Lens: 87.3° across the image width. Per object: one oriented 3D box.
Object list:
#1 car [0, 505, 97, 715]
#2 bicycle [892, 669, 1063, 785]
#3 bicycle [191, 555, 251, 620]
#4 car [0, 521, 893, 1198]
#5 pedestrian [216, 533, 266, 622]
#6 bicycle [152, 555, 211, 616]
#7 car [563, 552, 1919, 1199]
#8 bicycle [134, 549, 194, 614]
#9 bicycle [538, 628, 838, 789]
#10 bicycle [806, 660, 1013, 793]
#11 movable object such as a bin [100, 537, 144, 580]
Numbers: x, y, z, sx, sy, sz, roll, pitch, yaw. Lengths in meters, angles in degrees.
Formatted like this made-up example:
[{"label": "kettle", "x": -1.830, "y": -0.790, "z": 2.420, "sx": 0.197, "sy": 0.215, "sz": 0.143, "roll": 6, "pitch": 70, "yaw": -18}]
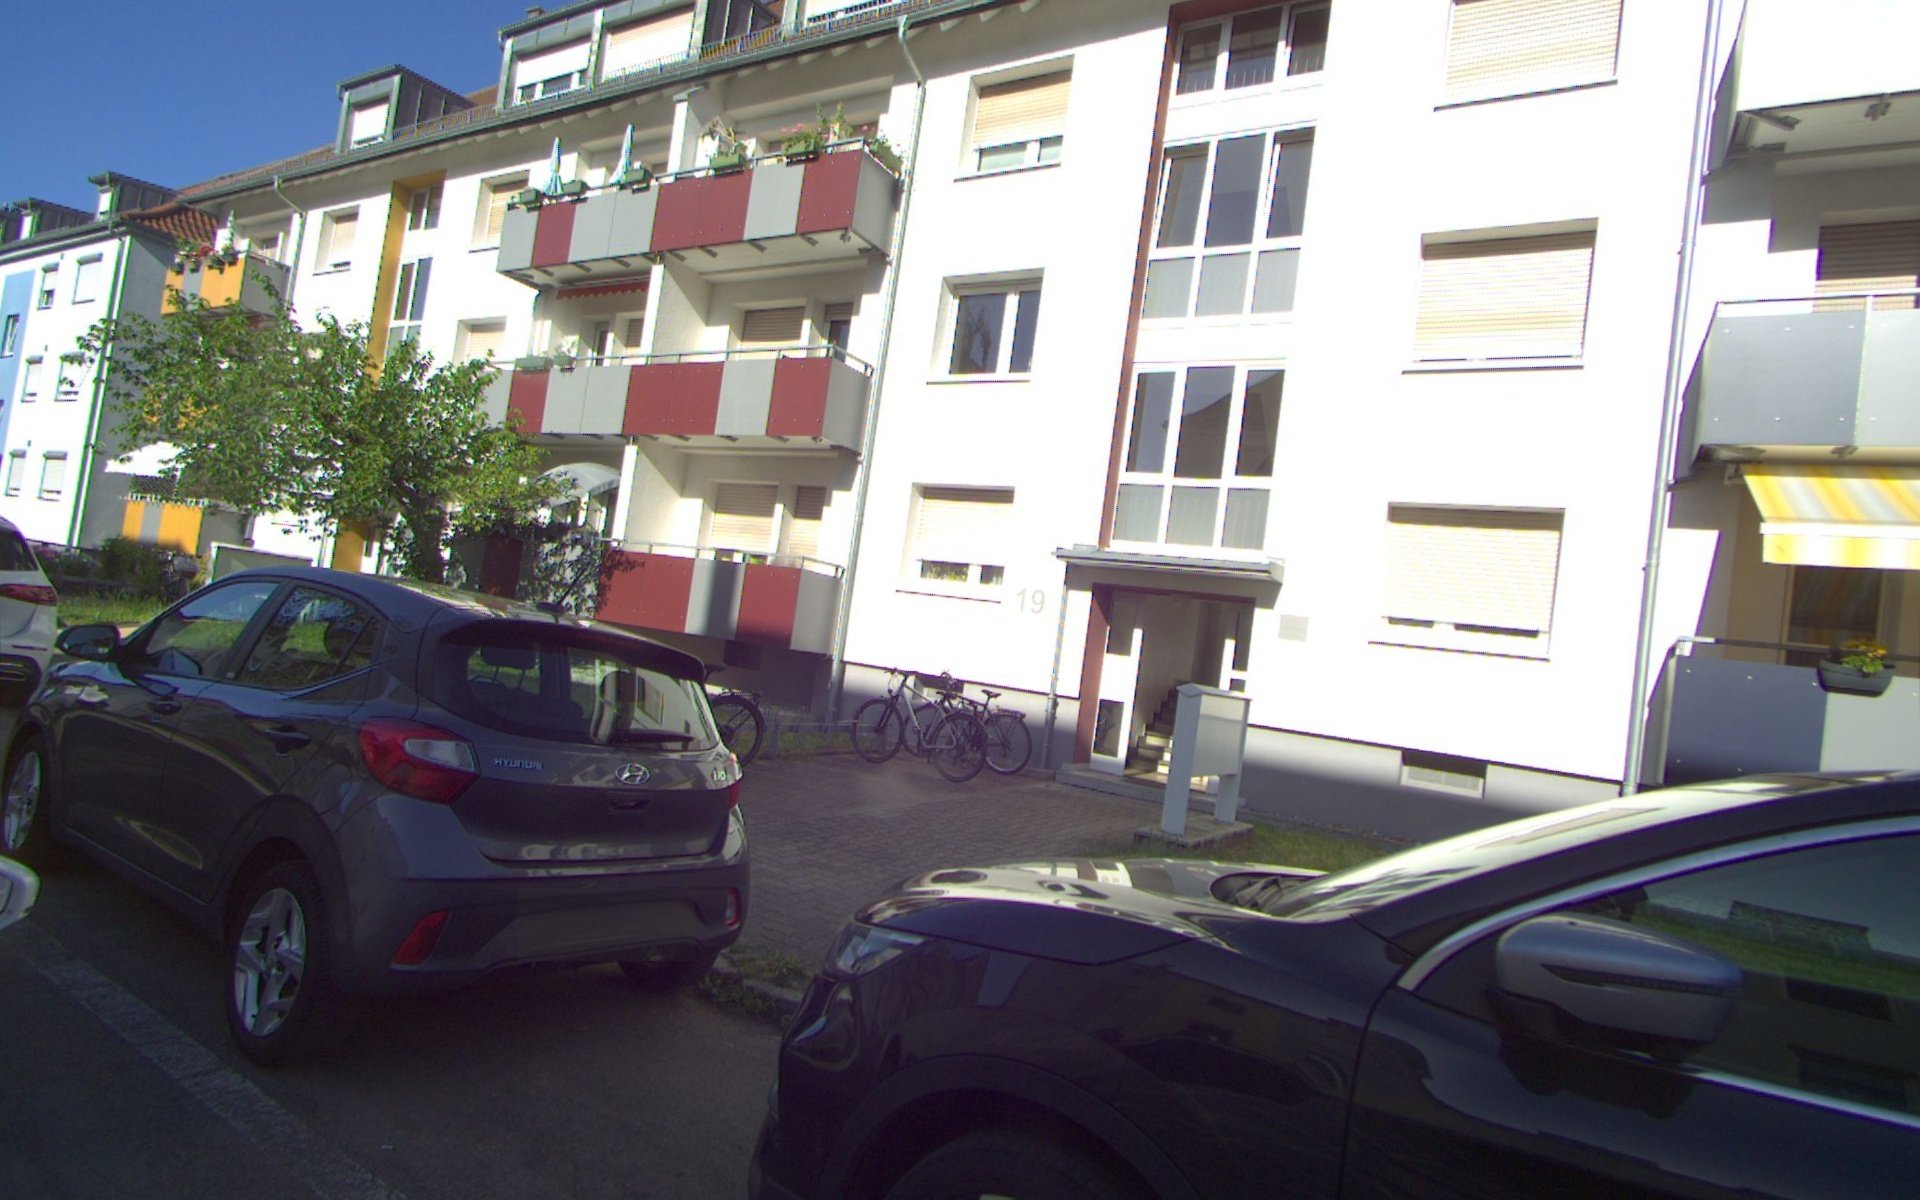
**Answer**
[{"label": "car", "x": -9.171, "y": -0.205, "z": 8.137, "sx": 4.404, "sy": 1.520, "sz": 1.778, "roll": 7, "pitch": -4, "yaw": 30}, {"label": "bicycle", "x": 0.186, "y": 1.486, "z": 12.002, "sx": 1.942, "sy": 1.049, "sz": 0.521, "roll": 7, "pitch": -1, "yaw": 32}, {"label": "bicycle", "x": -14.824, "y": -0.249, "z": 20.186, "sx": 1.252, "sy": 1.145, "sz": 0.404, "roll": 7, "pitch": -2, "yaw": 32}, {"label": "car", "x": -2.451, "y": 0.658, "z": 4.244, "sx": 3.996, "sy": 1.464, "sz": 1.652, "roll": 6, "pitch": -5, "yaw": 34}, {"label": "pedestrian", "x": -12.656, "y": -0.393, "z": 17.713, "sx": 0.354, "sy": 1.511, "sz": 0.451, "roll": 5, "pitch": -3, "yaw": 32}, {"label": "bicycle", "x": -14.721, "y": -0.262, "z": 19.035, "sx": 0.235, "sy": 1.059, "sz": 0.741, "roll": 7, "pitch": -1, "yaw": 33}, {"label": "car", "x": 1.517, "y": 0.996, "z": 1.695, "sx": 4.280, "sy": 1.596, "sz": 1.728, "roll": 7, "pitch": -2, "yaw": 31}, {"label": "bicycle", "x": -15.462, "y": -0.365, "z": 19.525, "sx": 1.278, "sy": 1.099, "sz": 0.404, "roll": 7, "pitch": -1, "yaw": 32}, {"label": "bicycle", "x": -2.296, "y": 0.980, "z": 8.883, "sx": 0.866, "sy": 1.142, "sz": 2.426, "roll": 6, "pitch": -3, "yaw": 37}, {"label": "bicycle", "x": -0.588, "y": 1.329, "z": 10.940, "sx": 2.250, "sy": 1.061, "sz": 0.521, "roll": 7, "pitch": 0, "yaw": 32}, {"label": "movable object such as a bin", "x": -22.646, "y": -1.129, "z": 27.186, "sx": 0.745, "sy": 1.046, "sz": 0.644, "roll": 4, "pitch": -3, "yaw": 32}]
